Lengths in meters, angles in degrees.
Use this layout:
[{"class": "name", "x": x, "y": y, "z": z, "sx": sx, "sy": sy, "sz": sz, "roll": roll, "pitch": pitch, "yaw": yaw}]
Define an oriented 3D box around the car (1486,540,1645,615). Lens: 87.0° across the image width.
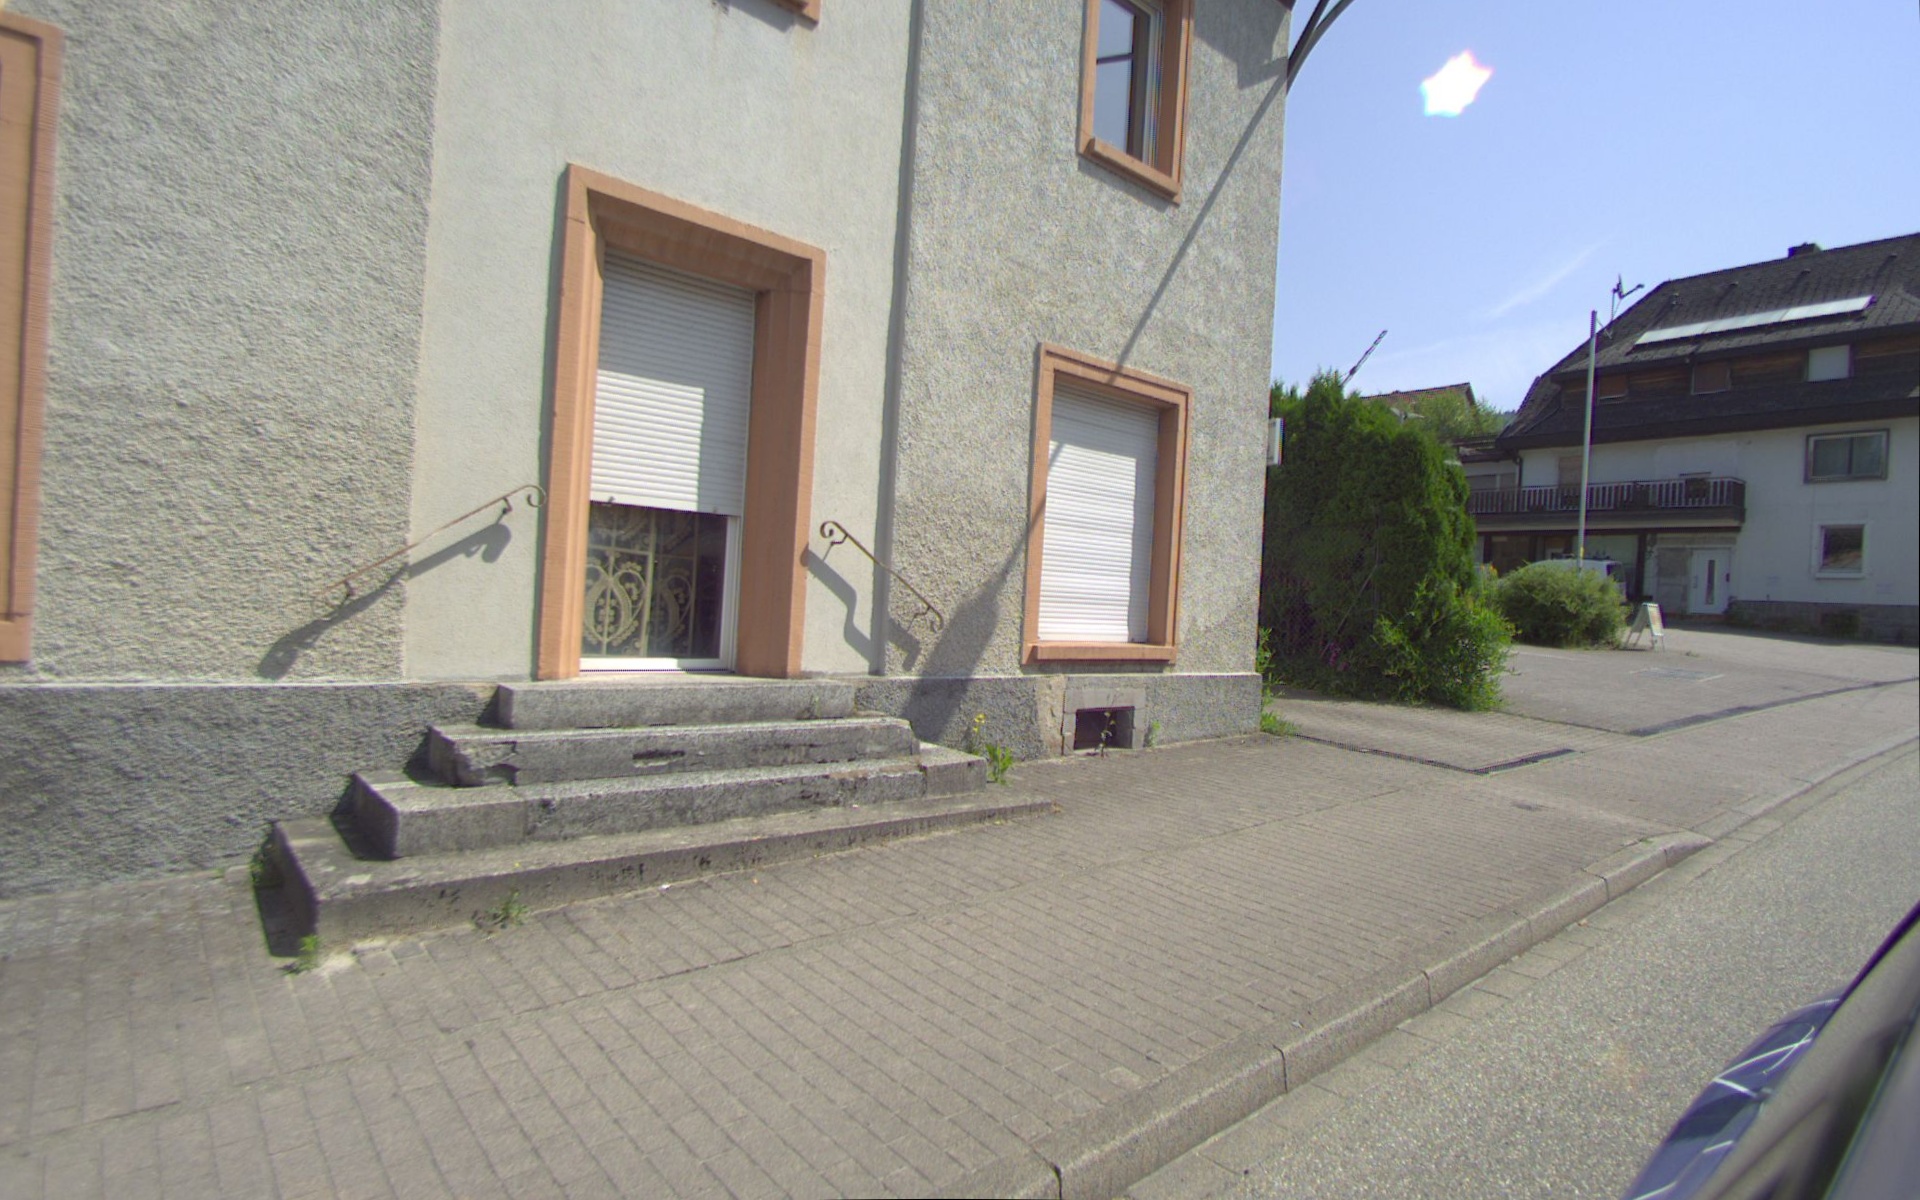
[{"class": "car", "x": 19.736, "y": -0.793, "z": 33.145, "sx": 1.605, "sy": 2.007, "sz": 4.023, "roll": -1, "pitch": 7, "yaw": -36}]
